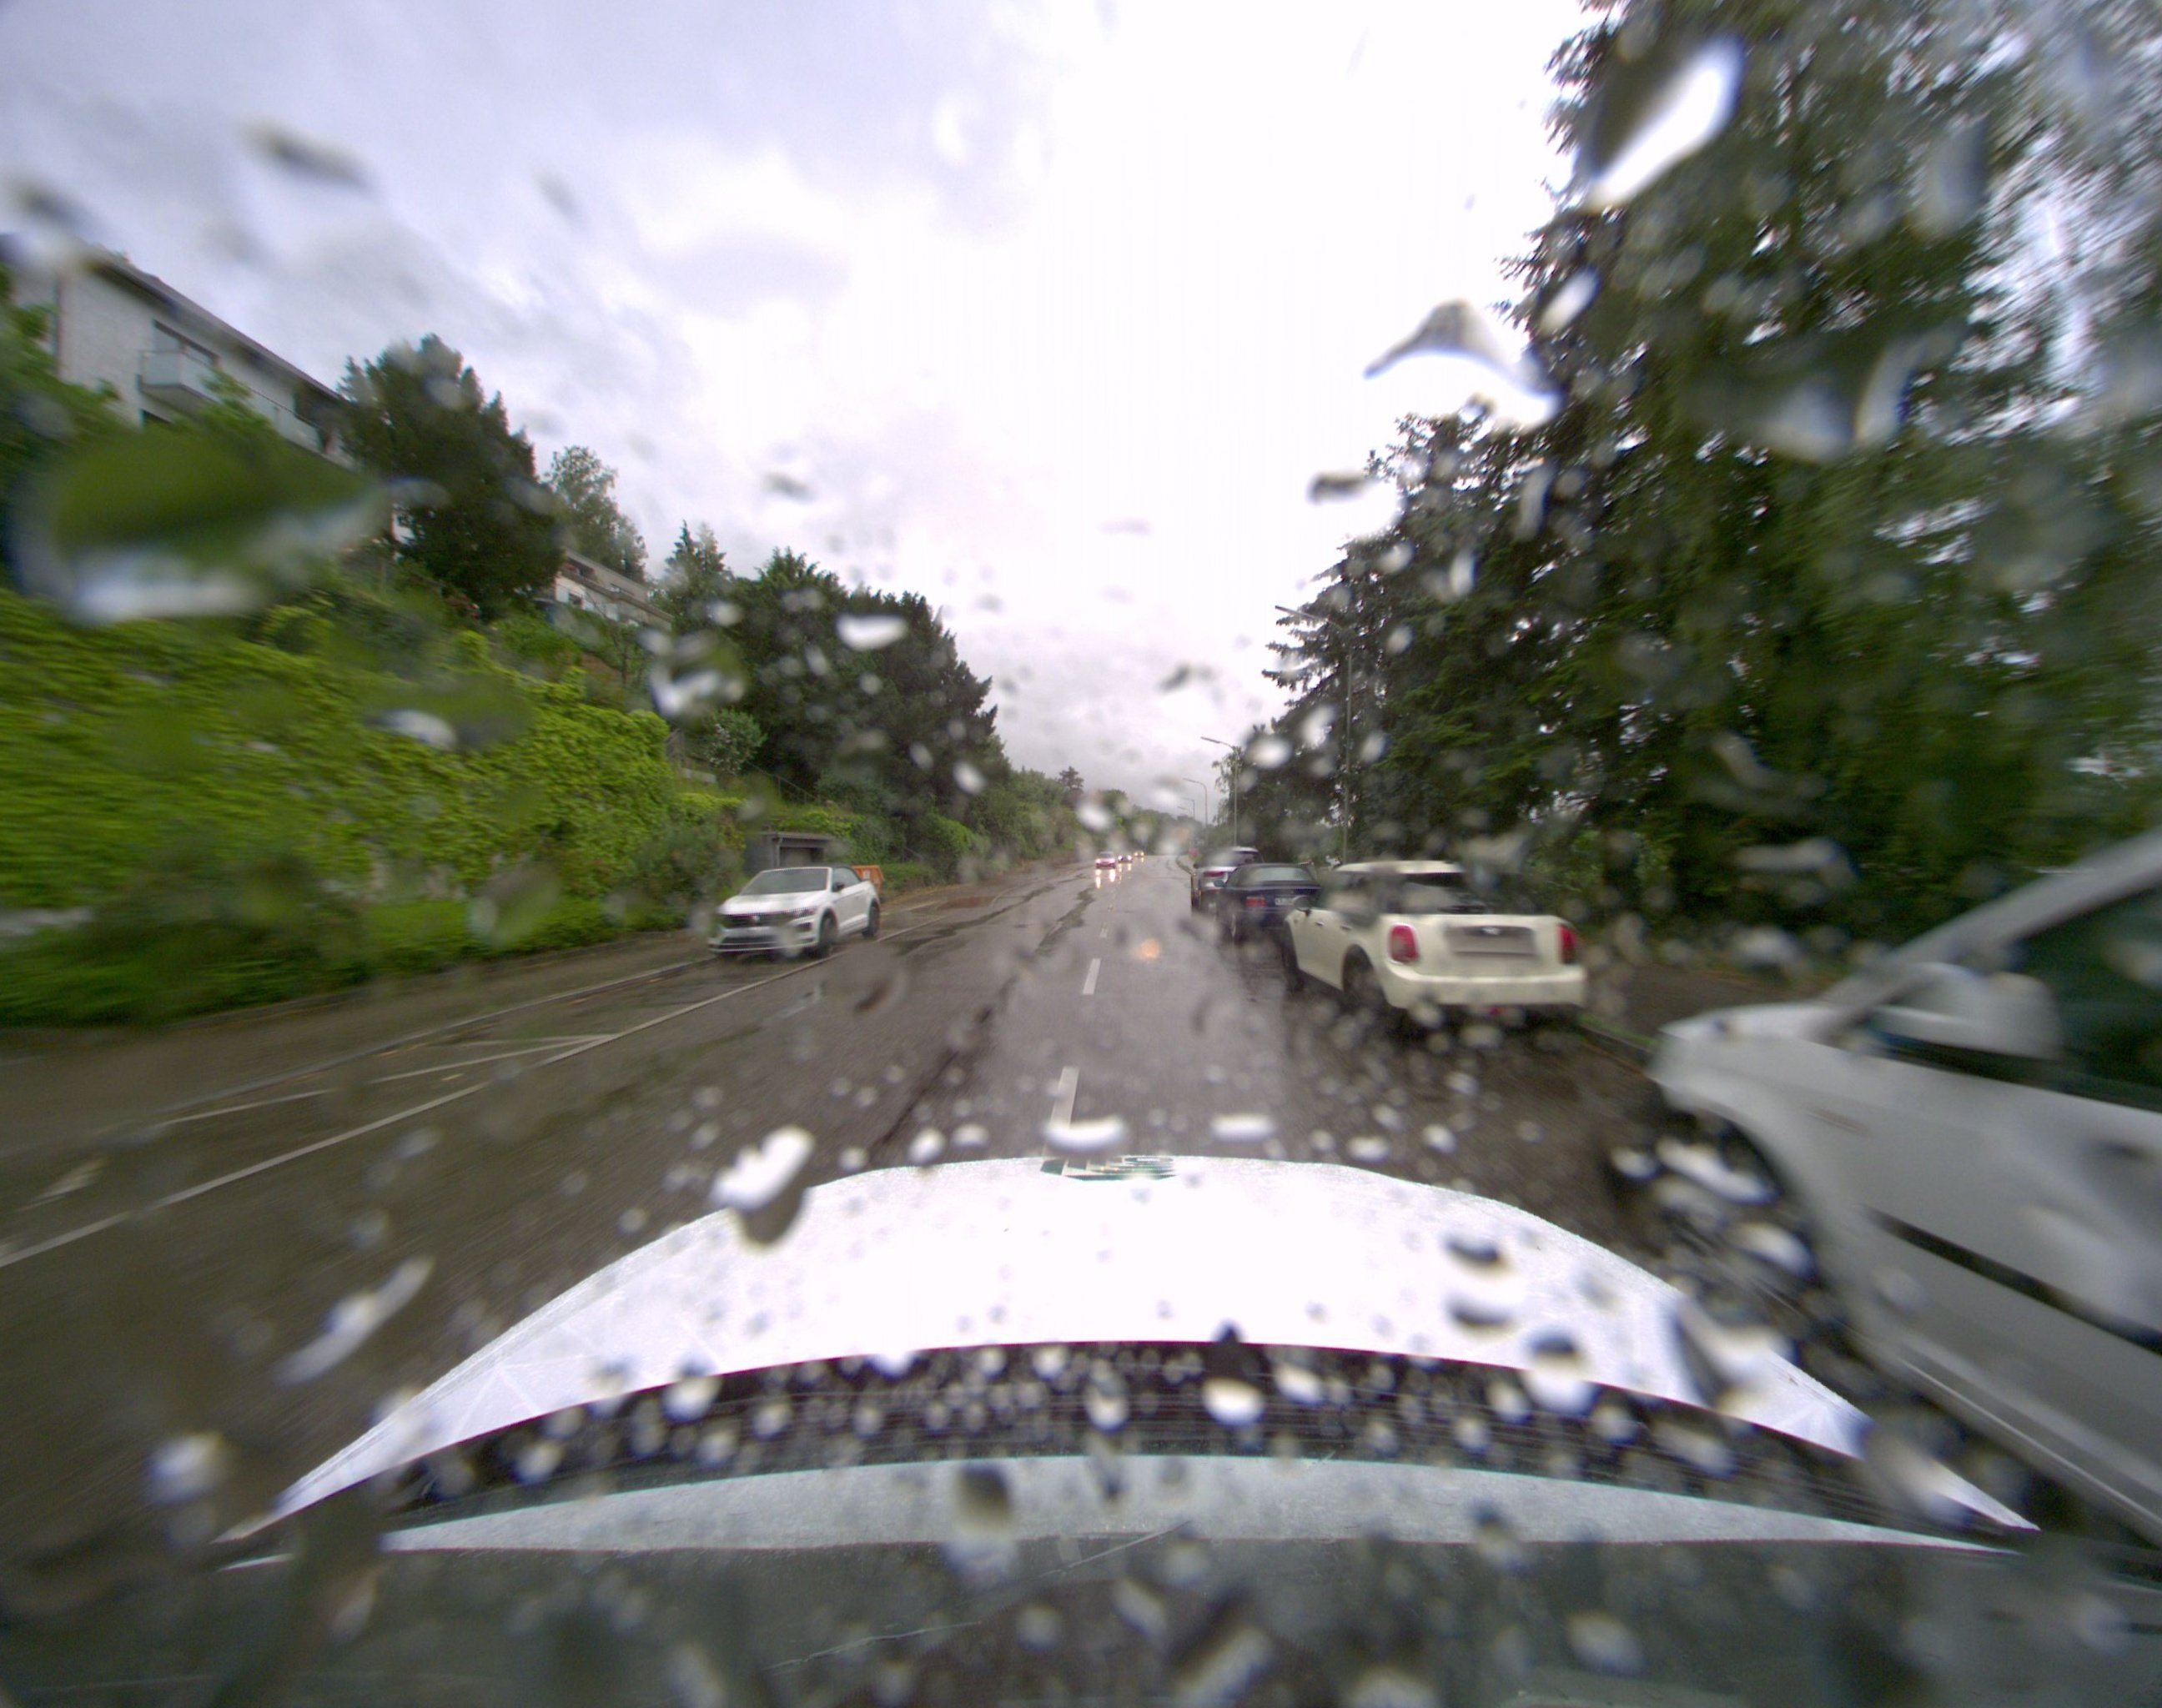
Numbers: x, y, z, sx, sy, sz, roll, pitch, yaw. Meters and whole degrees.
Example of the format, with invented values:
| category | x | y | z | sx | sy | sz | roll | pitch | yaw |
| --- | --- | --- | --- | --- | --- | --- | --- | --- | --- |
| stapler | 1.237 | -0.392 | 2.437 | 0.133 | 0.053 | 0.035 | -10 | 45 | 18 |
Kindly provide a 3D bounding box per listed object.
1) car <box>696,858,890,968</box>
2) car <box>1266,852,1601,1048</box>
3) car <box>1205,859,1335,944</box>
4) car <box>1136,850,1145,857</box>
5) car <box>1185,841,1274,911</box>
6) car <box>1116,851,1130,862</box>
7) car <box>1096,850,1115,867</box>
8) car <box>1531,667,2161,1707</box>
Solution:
| category | x | y | z | sx | sy | sz | roll | pitch | yaw |
| --- | --- | --- | --- | --- | --- | --- | --- | --- | --- |
| car | -4.759 | 0.879 | 14.166 | 1.750 | 1.497 | 4.220 | -3 | 0 | 1 |
| car | 3.093 | 0.714 | 8.156 | 1.702 | 1.403 | 4.207 | -2 | 0 | 3 |
| car | 3.395 | 0.777 | 15.385 | 1.624 | 1.282 | 4.451 | -2 | 0 | 3 |
| car | 12.038 | -0.111 | 163.781 | 1.752 | 1.496 | 4.132 | -2 | 0 | 4 |
| car | 3.933 | 0.534 | 22.166 | 1.808 | 1.645 | 4.399 | -2 | 0 | 3 |
| car | 5.280 | 0.302 | 101.541 | 1.647 | 1.352 | 3.991 | -2 | 0 | 3 |
| car | 2.185 | 0.407 | 73.458 | 1.656 | 1.461 | 3.663 | -2 | 0 | 1 |
| car | 2.693 | 0.556 | 1.230 | 1.777 | 1.790 | 4.365 | -2 | 0 | 3 |
